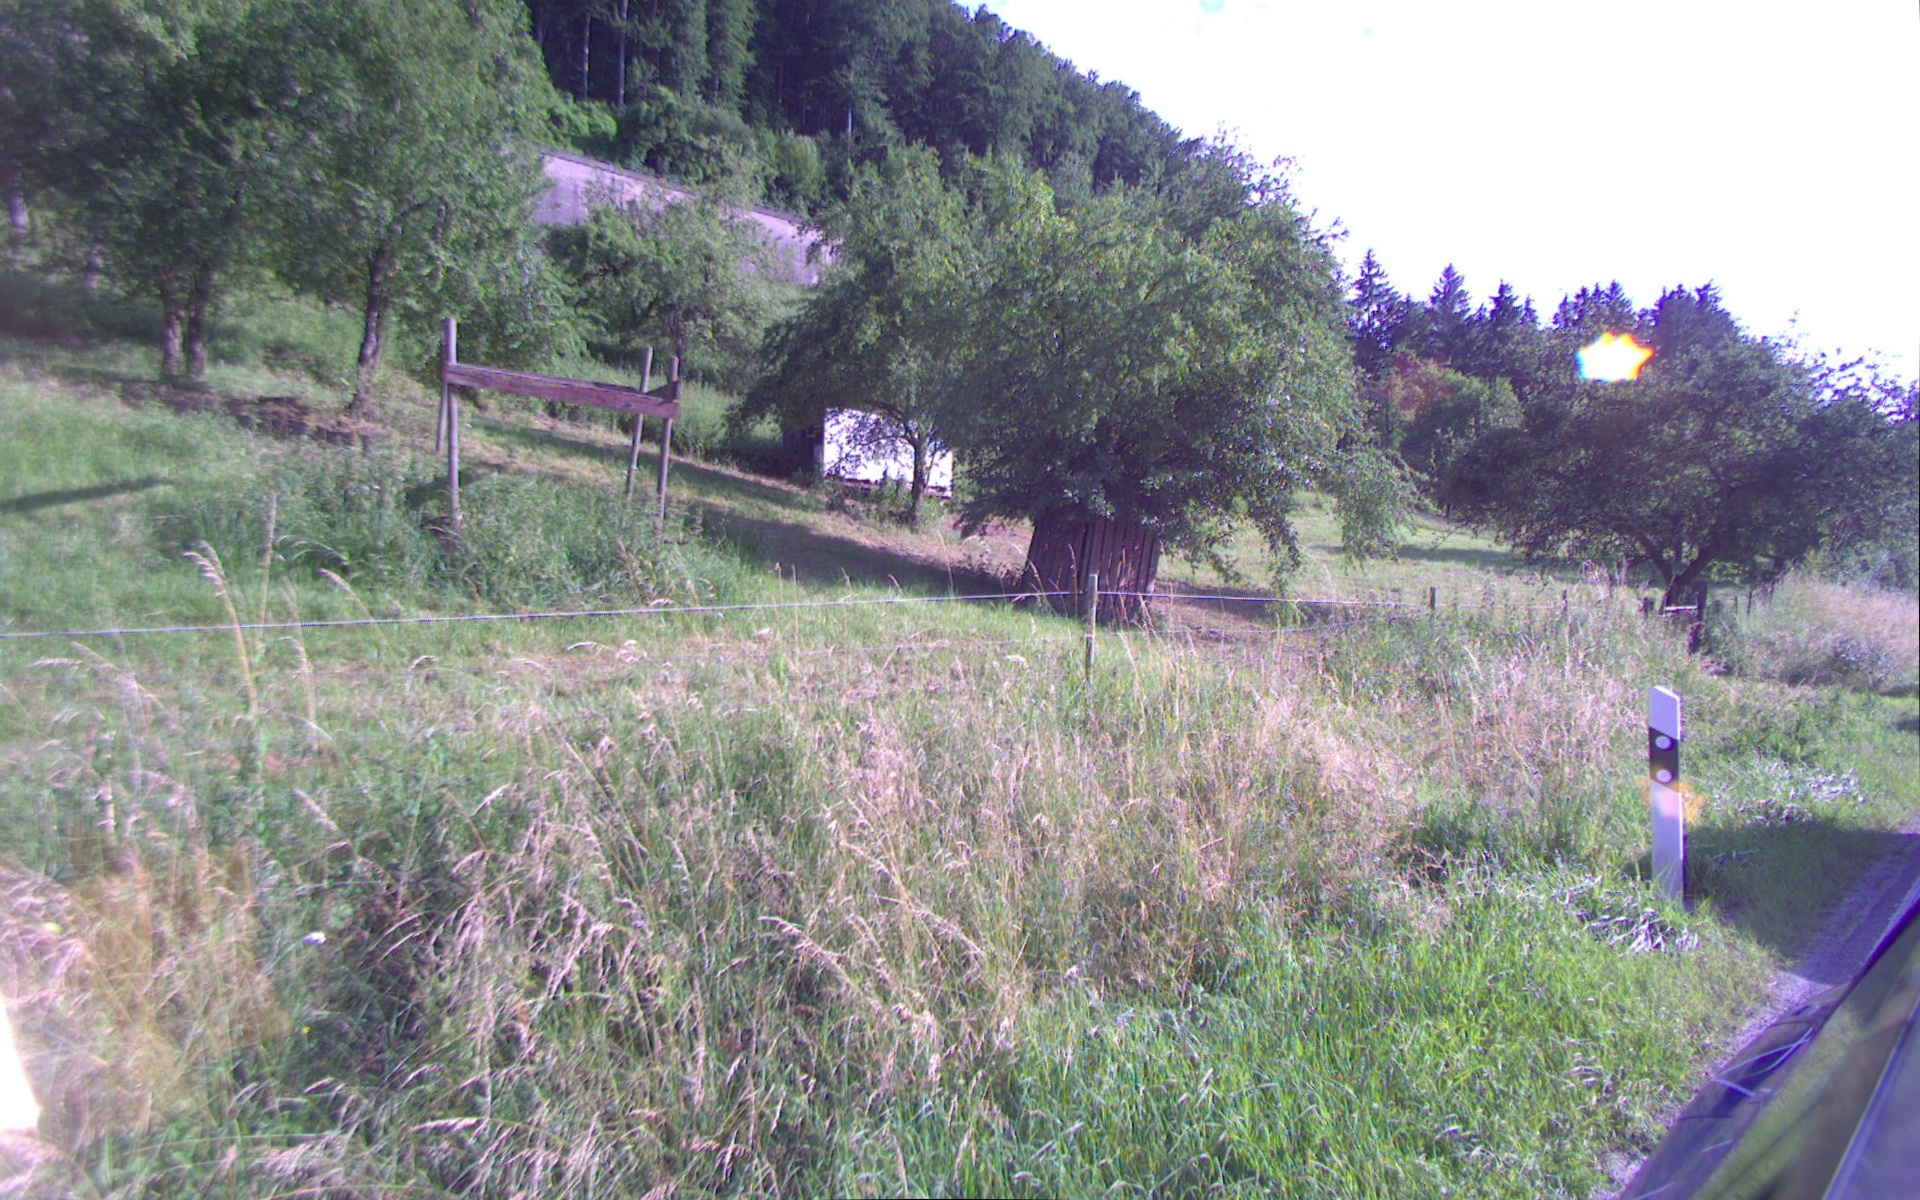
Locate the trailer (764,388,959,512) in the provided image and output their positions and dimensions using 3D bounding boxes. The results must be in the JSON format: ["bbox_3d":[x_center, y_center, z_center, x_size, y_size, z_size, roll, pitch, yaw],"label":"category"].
[{"bbox_3d":[-2.672,-4.074,28.591,5.160,2.590,2.154,4,0,-45],"label":"trailer"}]
